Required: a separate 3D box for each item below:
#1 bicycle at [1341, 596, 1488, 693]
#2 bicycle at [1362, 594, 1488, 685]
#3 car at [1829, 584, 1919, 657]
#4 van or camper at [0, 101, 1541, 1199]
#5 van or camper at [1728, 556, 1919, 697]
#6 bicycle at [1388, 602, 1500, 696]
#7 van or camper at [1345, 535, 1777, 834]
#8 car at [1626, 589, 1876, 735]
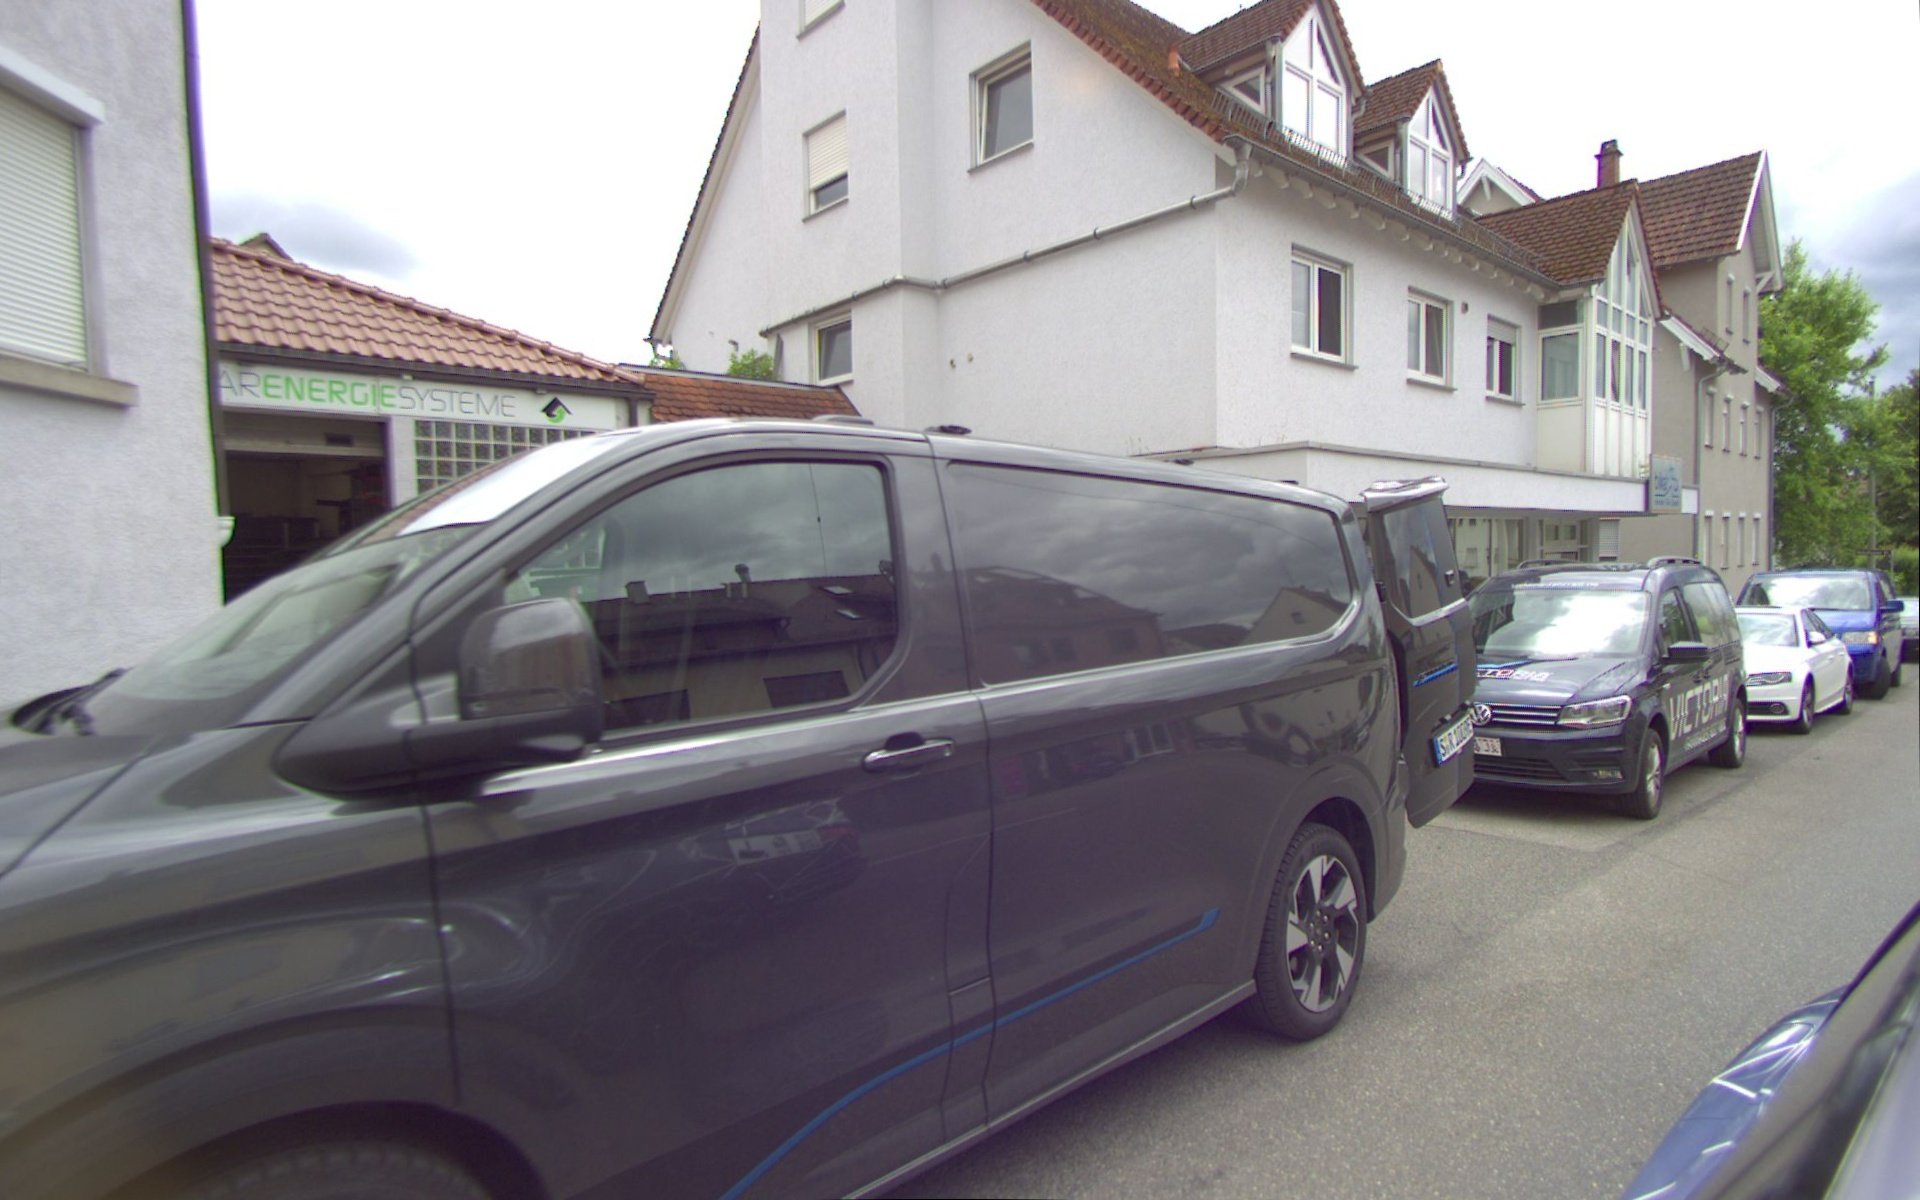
[{"bbox_3d":[5.549,0.530,12.366,1.690,1.127,0.439,1,2,-14],"label":"bicycle"},{"bbox_3d":[5.910,0.500,12.857,1.543,1.127,0.298,1,2,-11],"label":"bicycle"},{"bbox_3d":[22.102,0.419,23.765,4.808,1.537,1.996,-1,1,-42],"label":"car"},{"bbox_3d":[-0.167,0.434,3.432,5.843,2.092,1.996,-1,0,-42],"label":"van or camper"},{"bbox_3d":[14.128,0.323,16.379,4.749,1.950,1.929,-1,1,-43],"label":"van or camper"},{"bbox_3d":[6.349,0.633,13.273,1.437,1.174,0.251,-1,2,-10],"label":"bicycle"},{"bbox_3d":[5.246,0.500,8.528,4.601,1.852,1.873,-1,0,-43],"label":"van or camper"},{"bbox_3d":[9.894,0.618,12.512,4.561,1.454,1.716,-1,0,-43],"label":"car"}]
